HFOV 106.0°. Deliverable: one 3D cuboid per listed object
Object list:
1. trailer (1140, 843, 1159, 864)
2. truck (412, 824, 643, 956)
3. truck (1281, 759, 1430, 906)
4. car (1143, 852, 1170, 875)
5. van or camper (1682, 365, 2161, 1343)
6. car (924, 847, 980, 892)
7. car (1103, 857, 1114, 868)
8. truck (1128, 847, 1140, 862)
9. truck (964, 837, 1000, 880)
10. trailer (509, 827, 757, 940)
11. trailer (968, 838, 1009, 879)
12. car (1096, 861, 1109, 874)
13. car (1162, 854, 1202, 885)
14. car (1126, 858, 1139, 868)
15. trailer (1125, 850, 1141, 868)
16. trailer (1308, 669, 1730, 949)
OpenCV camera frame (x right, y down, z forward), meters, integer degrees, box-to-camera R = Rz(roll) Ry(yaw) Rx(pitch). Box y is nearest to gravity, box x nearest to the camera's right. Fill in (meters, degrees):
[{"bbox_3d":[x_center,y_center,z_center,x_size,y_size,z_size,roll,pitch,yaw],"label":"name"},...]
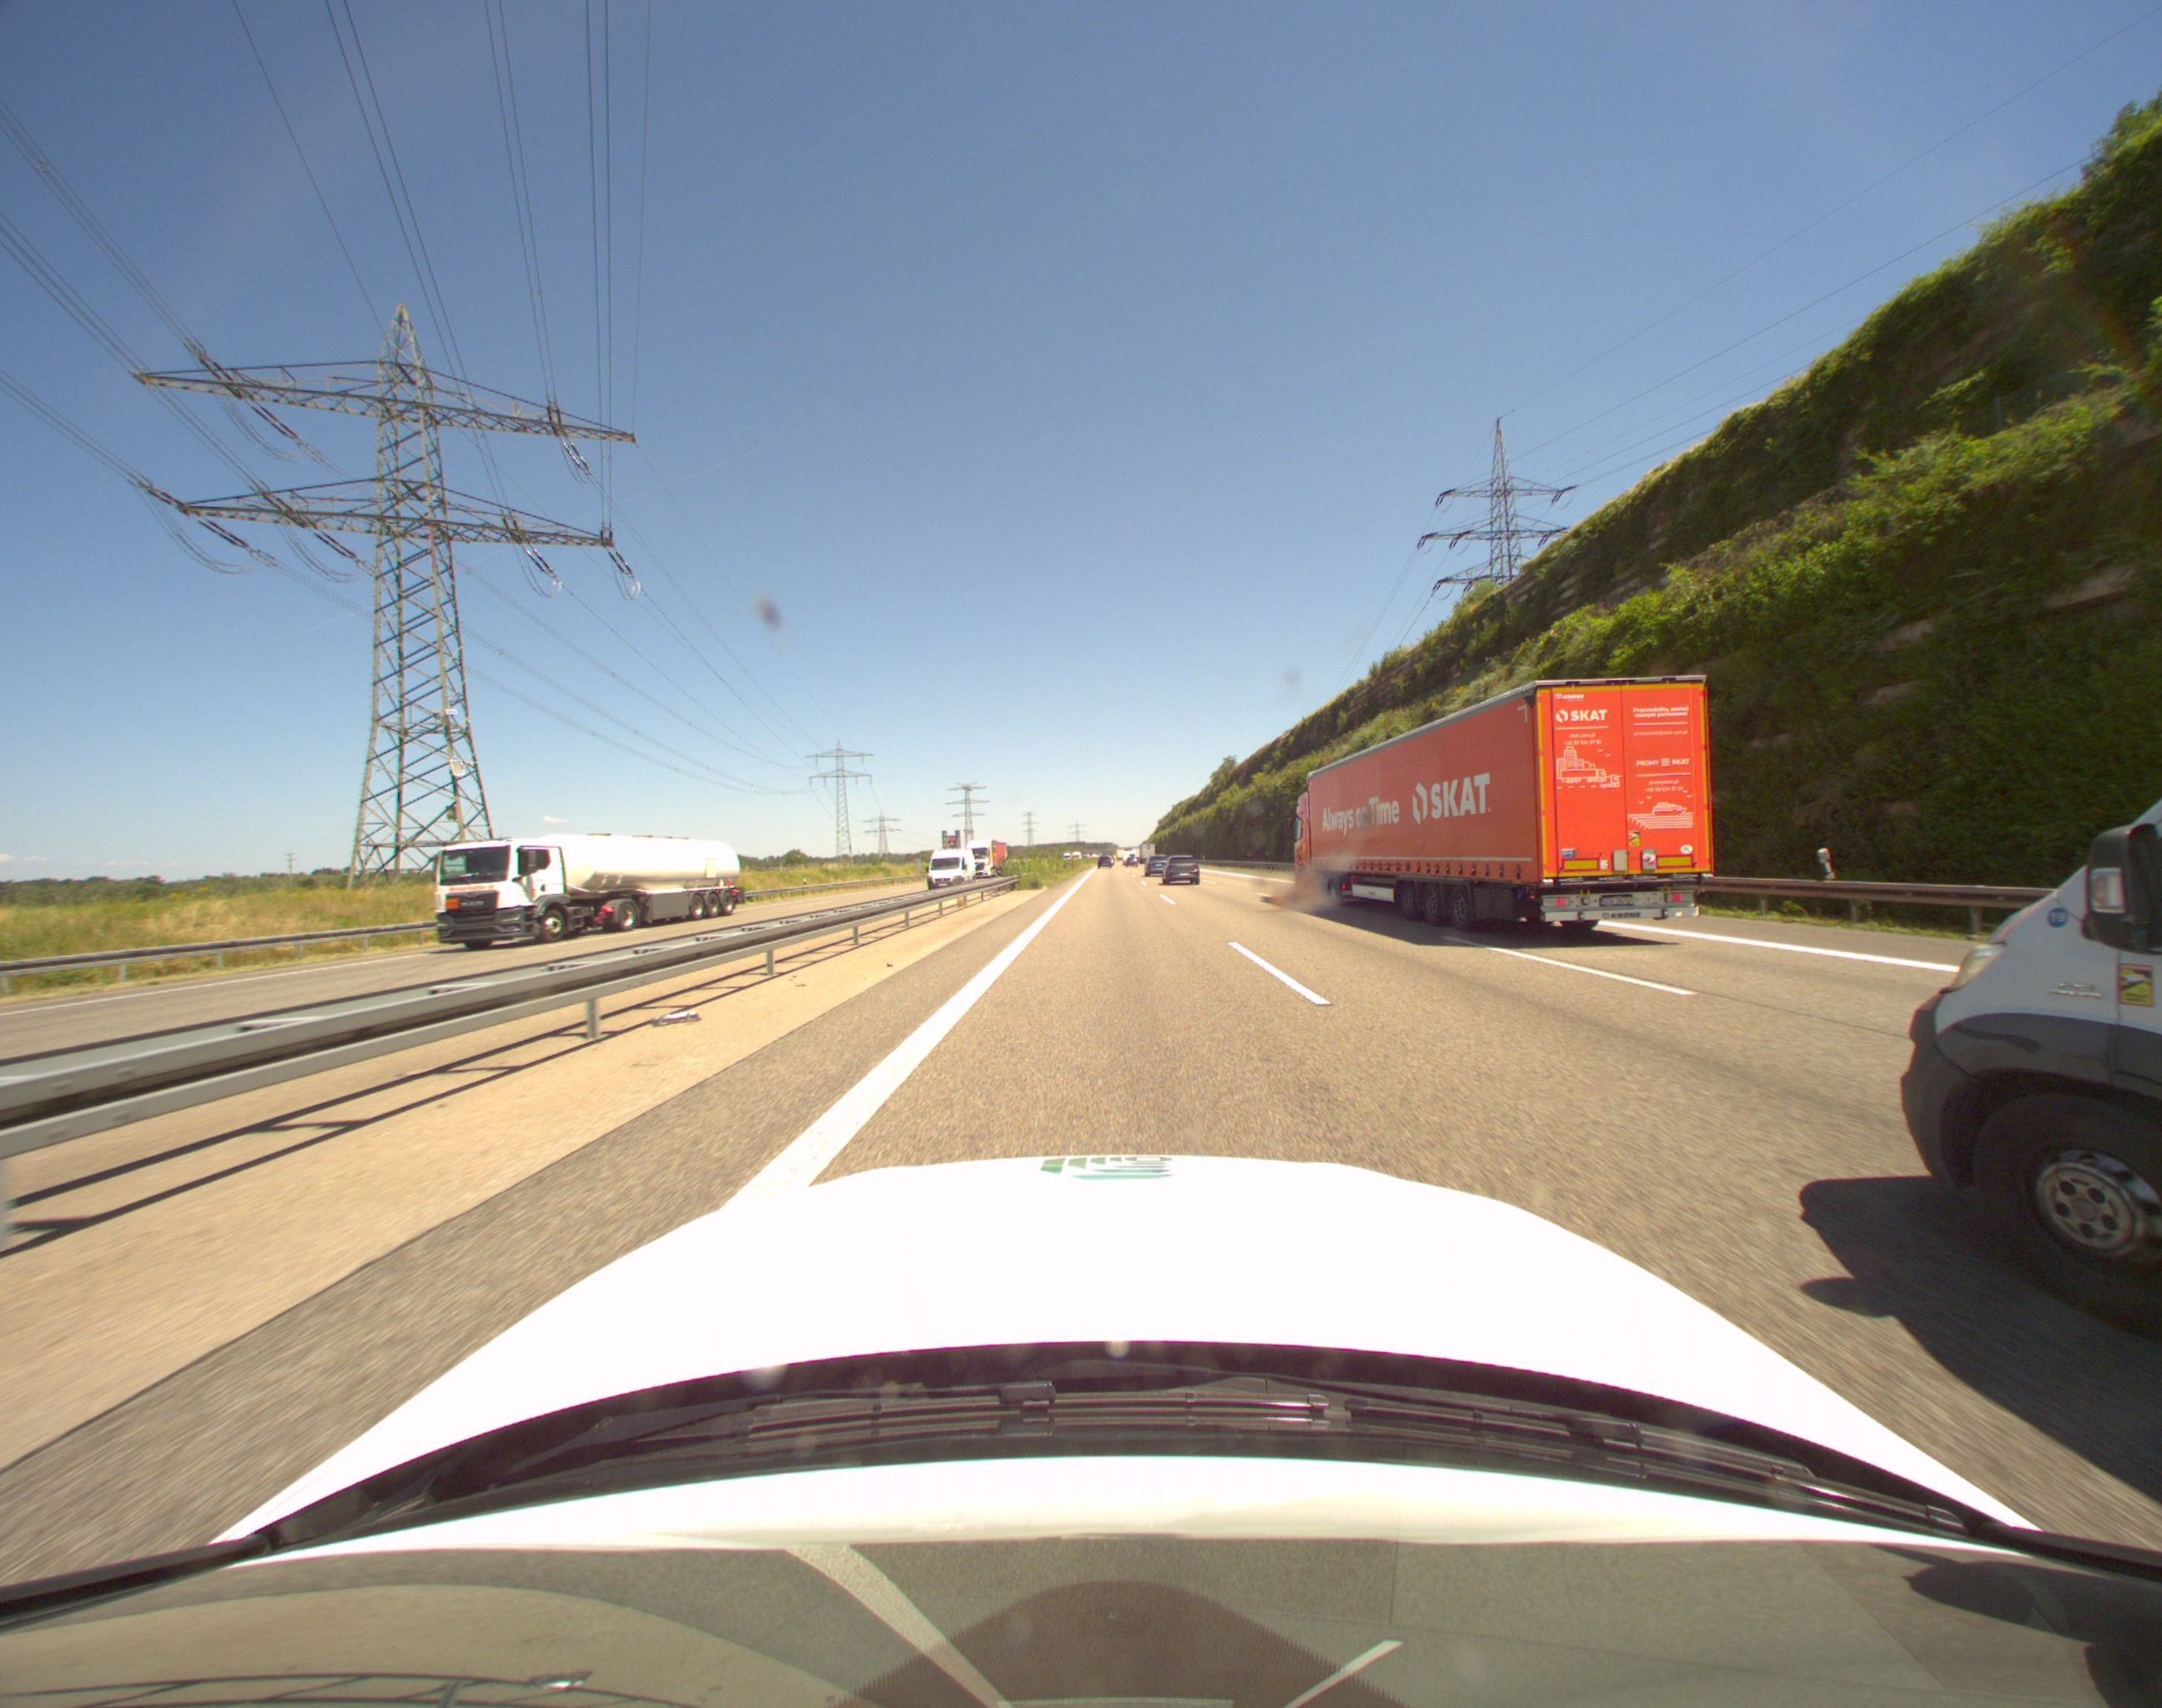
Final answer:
[{"bbox_3d":[13.968,-0.083,167.390,3.171,4.121,13.438,-3,0,2],"label":"trailer"},{"bbox_3d":[-16.390,0.971,24.765,2.473,3.378,6.214,-3,0,2],"label":"truck"},{"bbox_3d":[8.406,-0.599,25.838,2.608,3.992,6.529,-2,0,2],"label":"truck"},{"bbox_3d":[5.740,0.737,62.409,1.787,1.653,4.140,-2,0,2],"label":"car"},{"bbox_3d":[4.067,-0.018,0.749,2.089,2.769,6.758,-2,0,1],"label":"van or camper"},{"bbox_3d":[-7.720,0.886,49.349,1.985,2.437,6.034,-3,0,3],"label":"car"},{"bbox_3d":[4.650,1.406,138.791,1.823,1.670,4.001,-3,0,2],"label":"car"},{"bbox_3d":[15.464,0.173,237.561,3.107,4.280,11.940,-3,0,2],"label":"truck"},{"bbox_3d":[-10.419,0.454,86.111,2.590,4.211,5.912,-3,0,2],"label":"truck"},{"bbox_3d":[-16.130,0.930,30.934,2.406,3.372,11.570,-3,0,3],"label":"trailer"},{"bbox_3d":[-10.302,0.493,92.624,2.582,4.238,14.331,-3,0,1],"label":"trailer"},{"bbox_3d":[3.091,1.882,116.145,1.823,1.670,4.001,-3,0,2],"label":"car"},{"bbox_3d":[5.396,0.814,43.861,1.743,1.525,3.996,-2,0,1],"label":"car"},{"bbox_3d":[7.797,1.359,123.697,1.822,1.525,4.003,-3,0,3],"label":"car"},{"bbox_3d":[9.526,0.908,150.283,2.601,3.213,9.956,-3,0,2],"label":"trailer"},{"bbox_3d":[8.239,-0.632,18.621,2.635,4.005,13.611,-1,0,2],"label":"trailer"}]
